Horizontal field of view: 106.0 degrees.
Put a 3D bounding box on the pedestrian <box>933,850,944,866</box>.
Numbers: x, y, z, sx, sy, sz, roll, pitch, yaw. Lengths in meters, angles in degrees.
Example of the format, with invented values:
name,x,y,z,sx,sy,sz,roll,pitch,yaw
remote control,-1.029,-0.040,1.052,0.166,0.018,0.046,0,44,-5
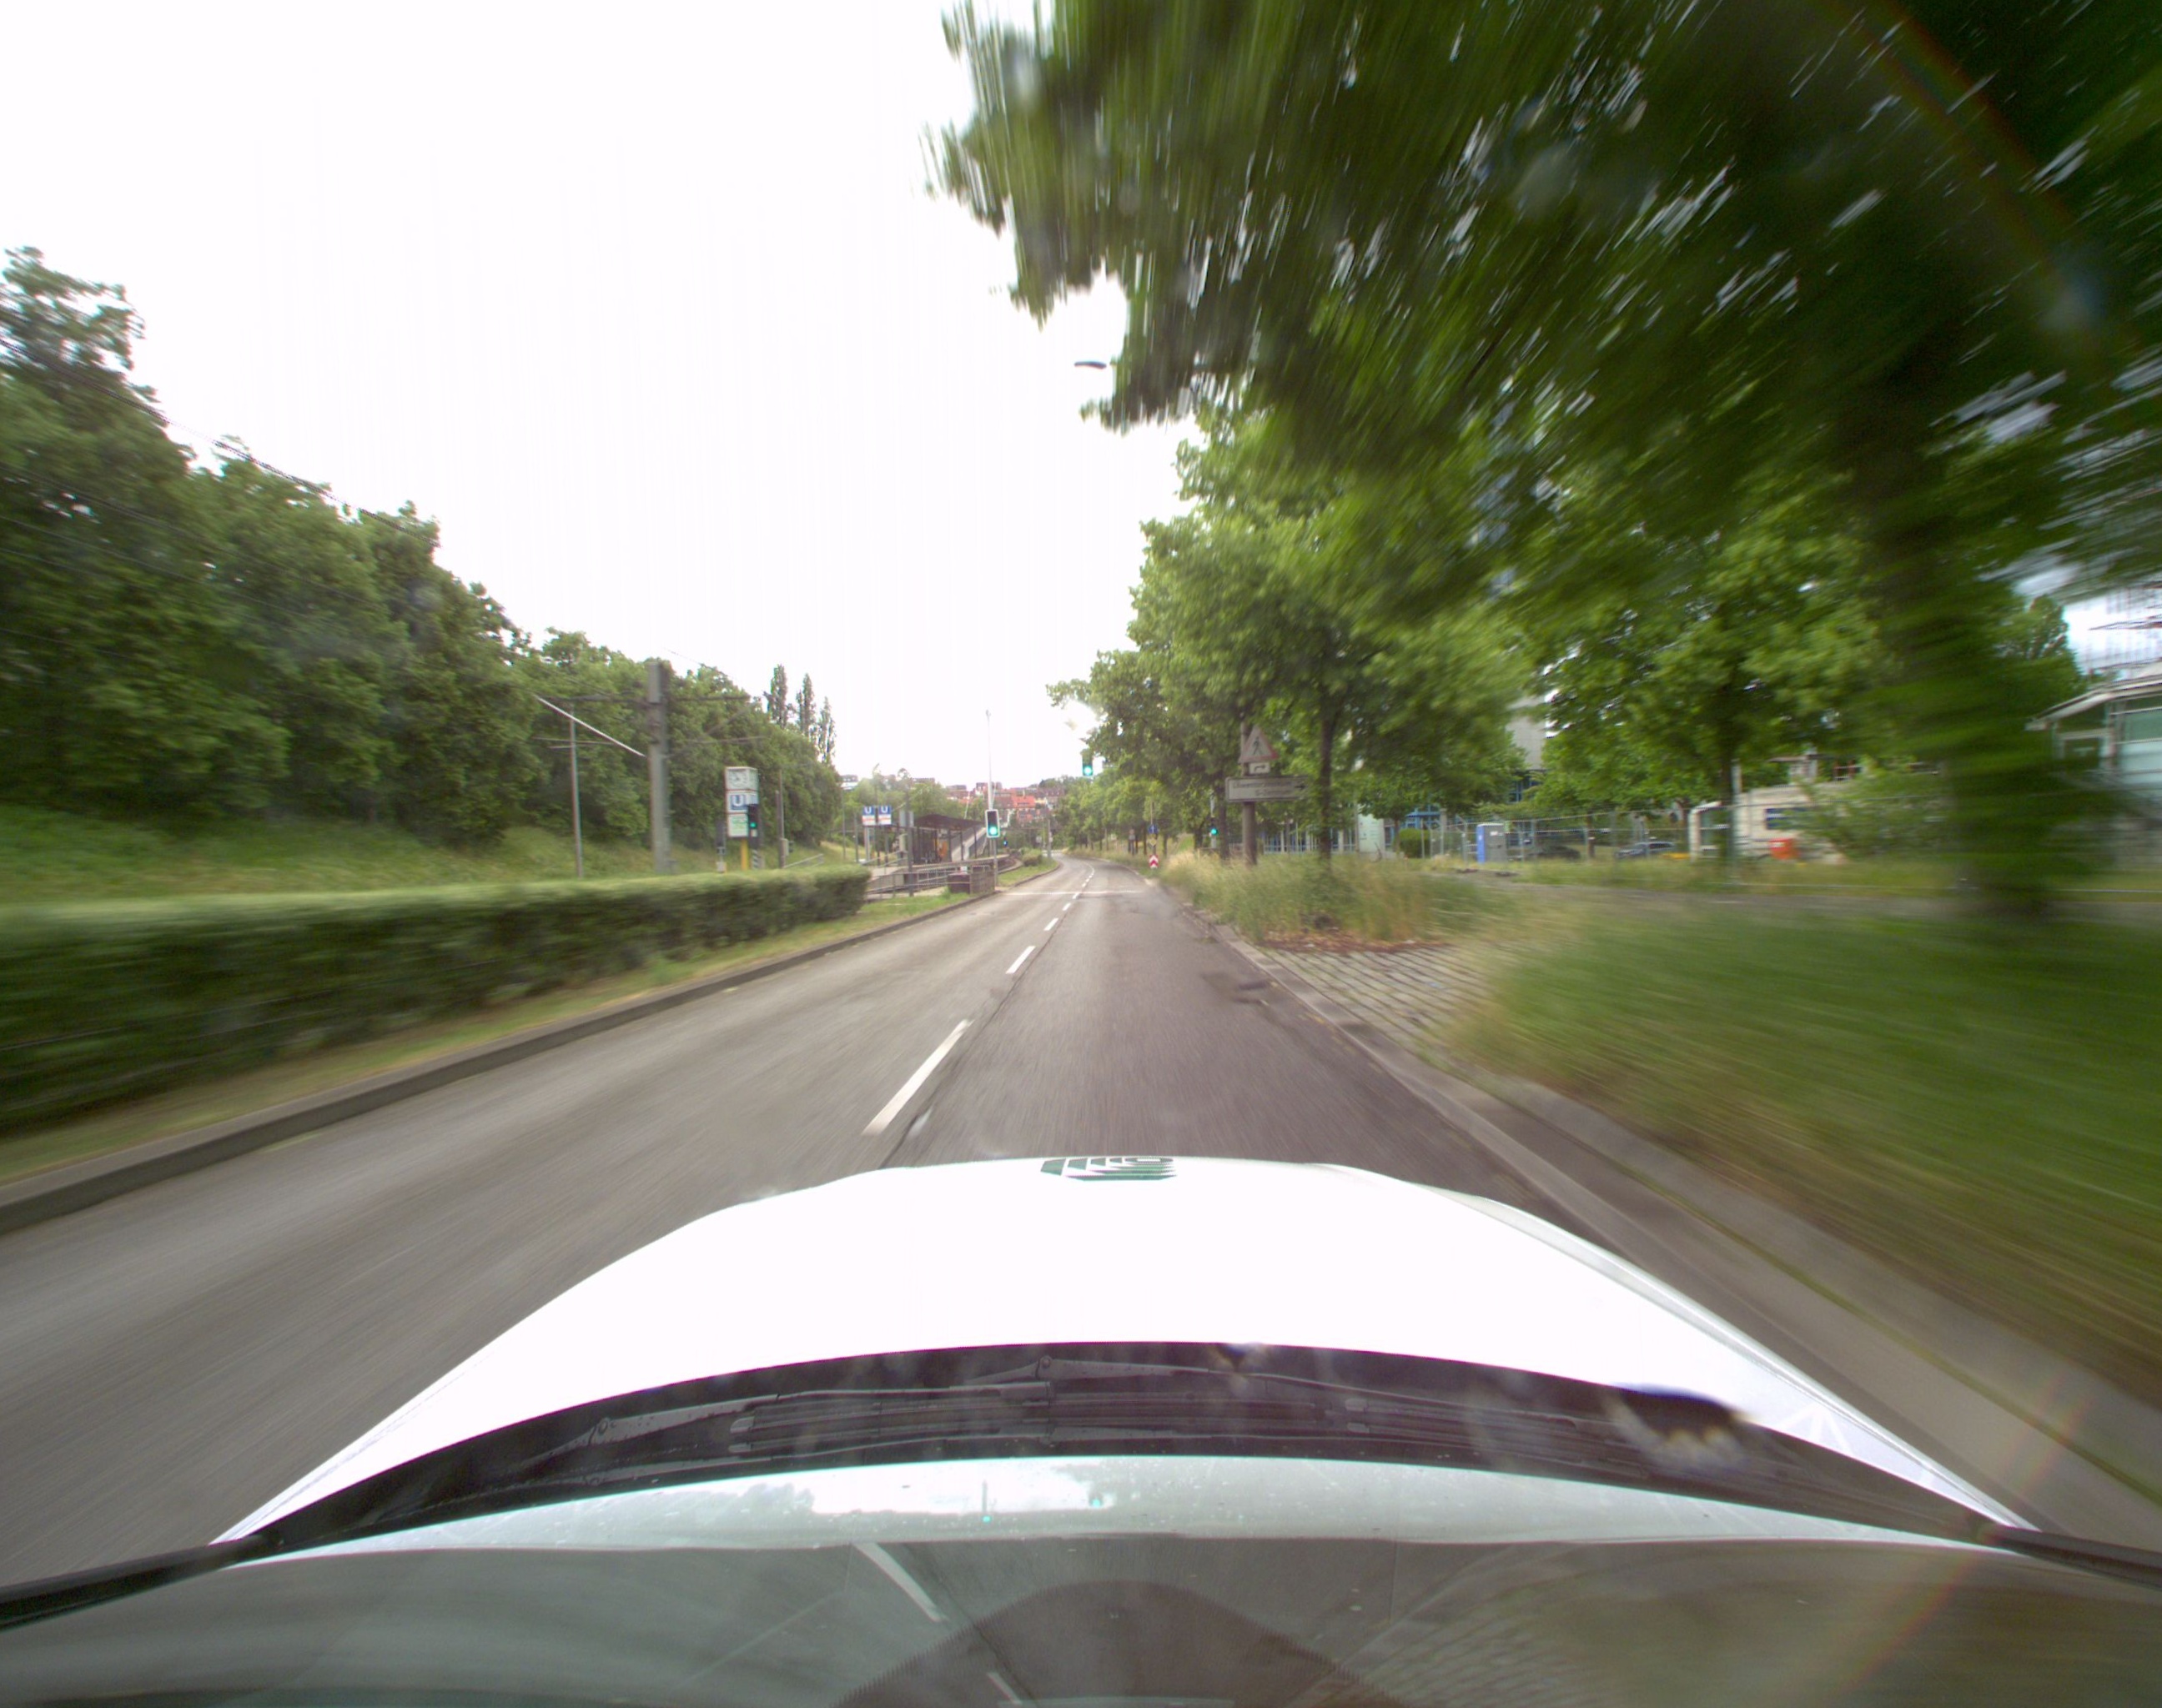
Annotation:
name,x,y,z,sx,sy,sz,roll,pitch,yaw
pedestrian,-11.691,0.336,66.897,0.751,1.355,0.691,-1,0,-2

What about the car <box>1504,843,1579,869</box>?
name,x,y,z,sx,sy,sz,roll,pitch,yaw
car,31.383,0.130,55.554,4.075,1.578,1.761,-2,2,6

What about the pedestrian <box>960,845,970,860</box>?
name,x,y,z,sx,sy,sz,roll,pitch,yaw
pedestrian,-12.350,-0.129,86.445,0.932,1.611,1.026,-1,0,-2
